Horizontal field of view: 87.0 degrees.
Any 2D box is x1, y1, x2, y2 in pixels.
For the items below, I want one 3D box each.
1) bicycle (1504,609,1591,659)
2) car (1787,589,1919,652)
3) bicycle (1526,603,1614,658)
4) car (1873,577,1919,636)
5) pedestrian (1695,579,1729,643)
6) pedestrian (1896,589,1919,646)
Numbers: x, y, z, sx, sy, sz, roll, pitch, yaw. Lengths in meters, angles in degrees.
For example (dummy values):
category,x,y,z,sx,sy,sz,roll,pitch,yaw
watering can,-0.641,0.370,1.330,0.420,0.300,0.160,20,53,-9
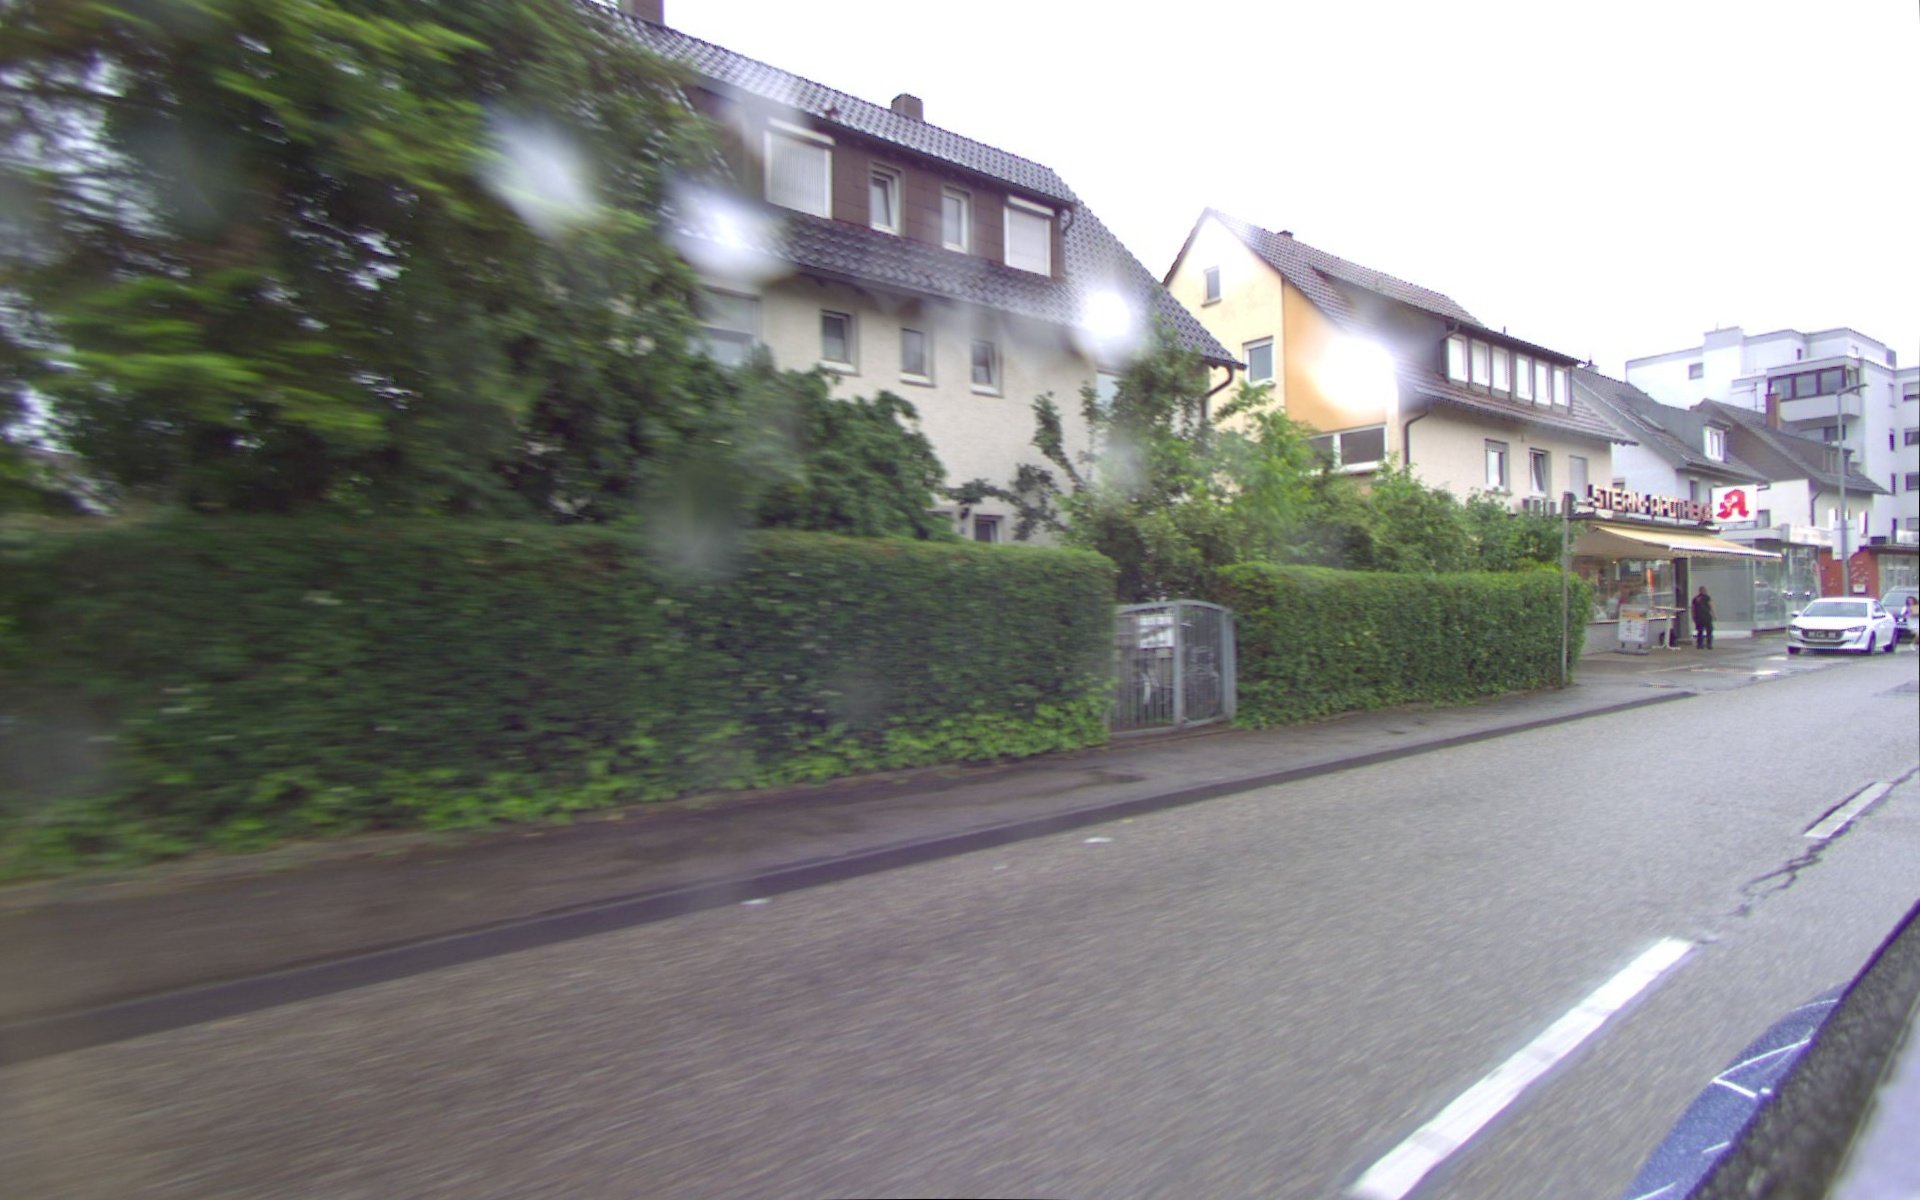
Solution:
category,x,y,z,sx,sy,sz,roll,pitch,yaw
bicycle,13.068,0.730,22.572,0.609,0.944,1.656,0,4,-18
car,23.490,0.482,26.581,4.125,1.466,1.820,-1,1,-37
bicycle,13.712,0.660,22.799,0.609,1.060,1.656,0,4,-18
car,30.944,0.170,32.014,4.870,1.716,2.043,-2,2,-35
pedestrian,20.284,0.298,27.292,0.544,1.700,0.514,-1,-1,16
pedestrian,25.762,0.479,27.452,0.456,1.519,0.446,0,-1,-38
